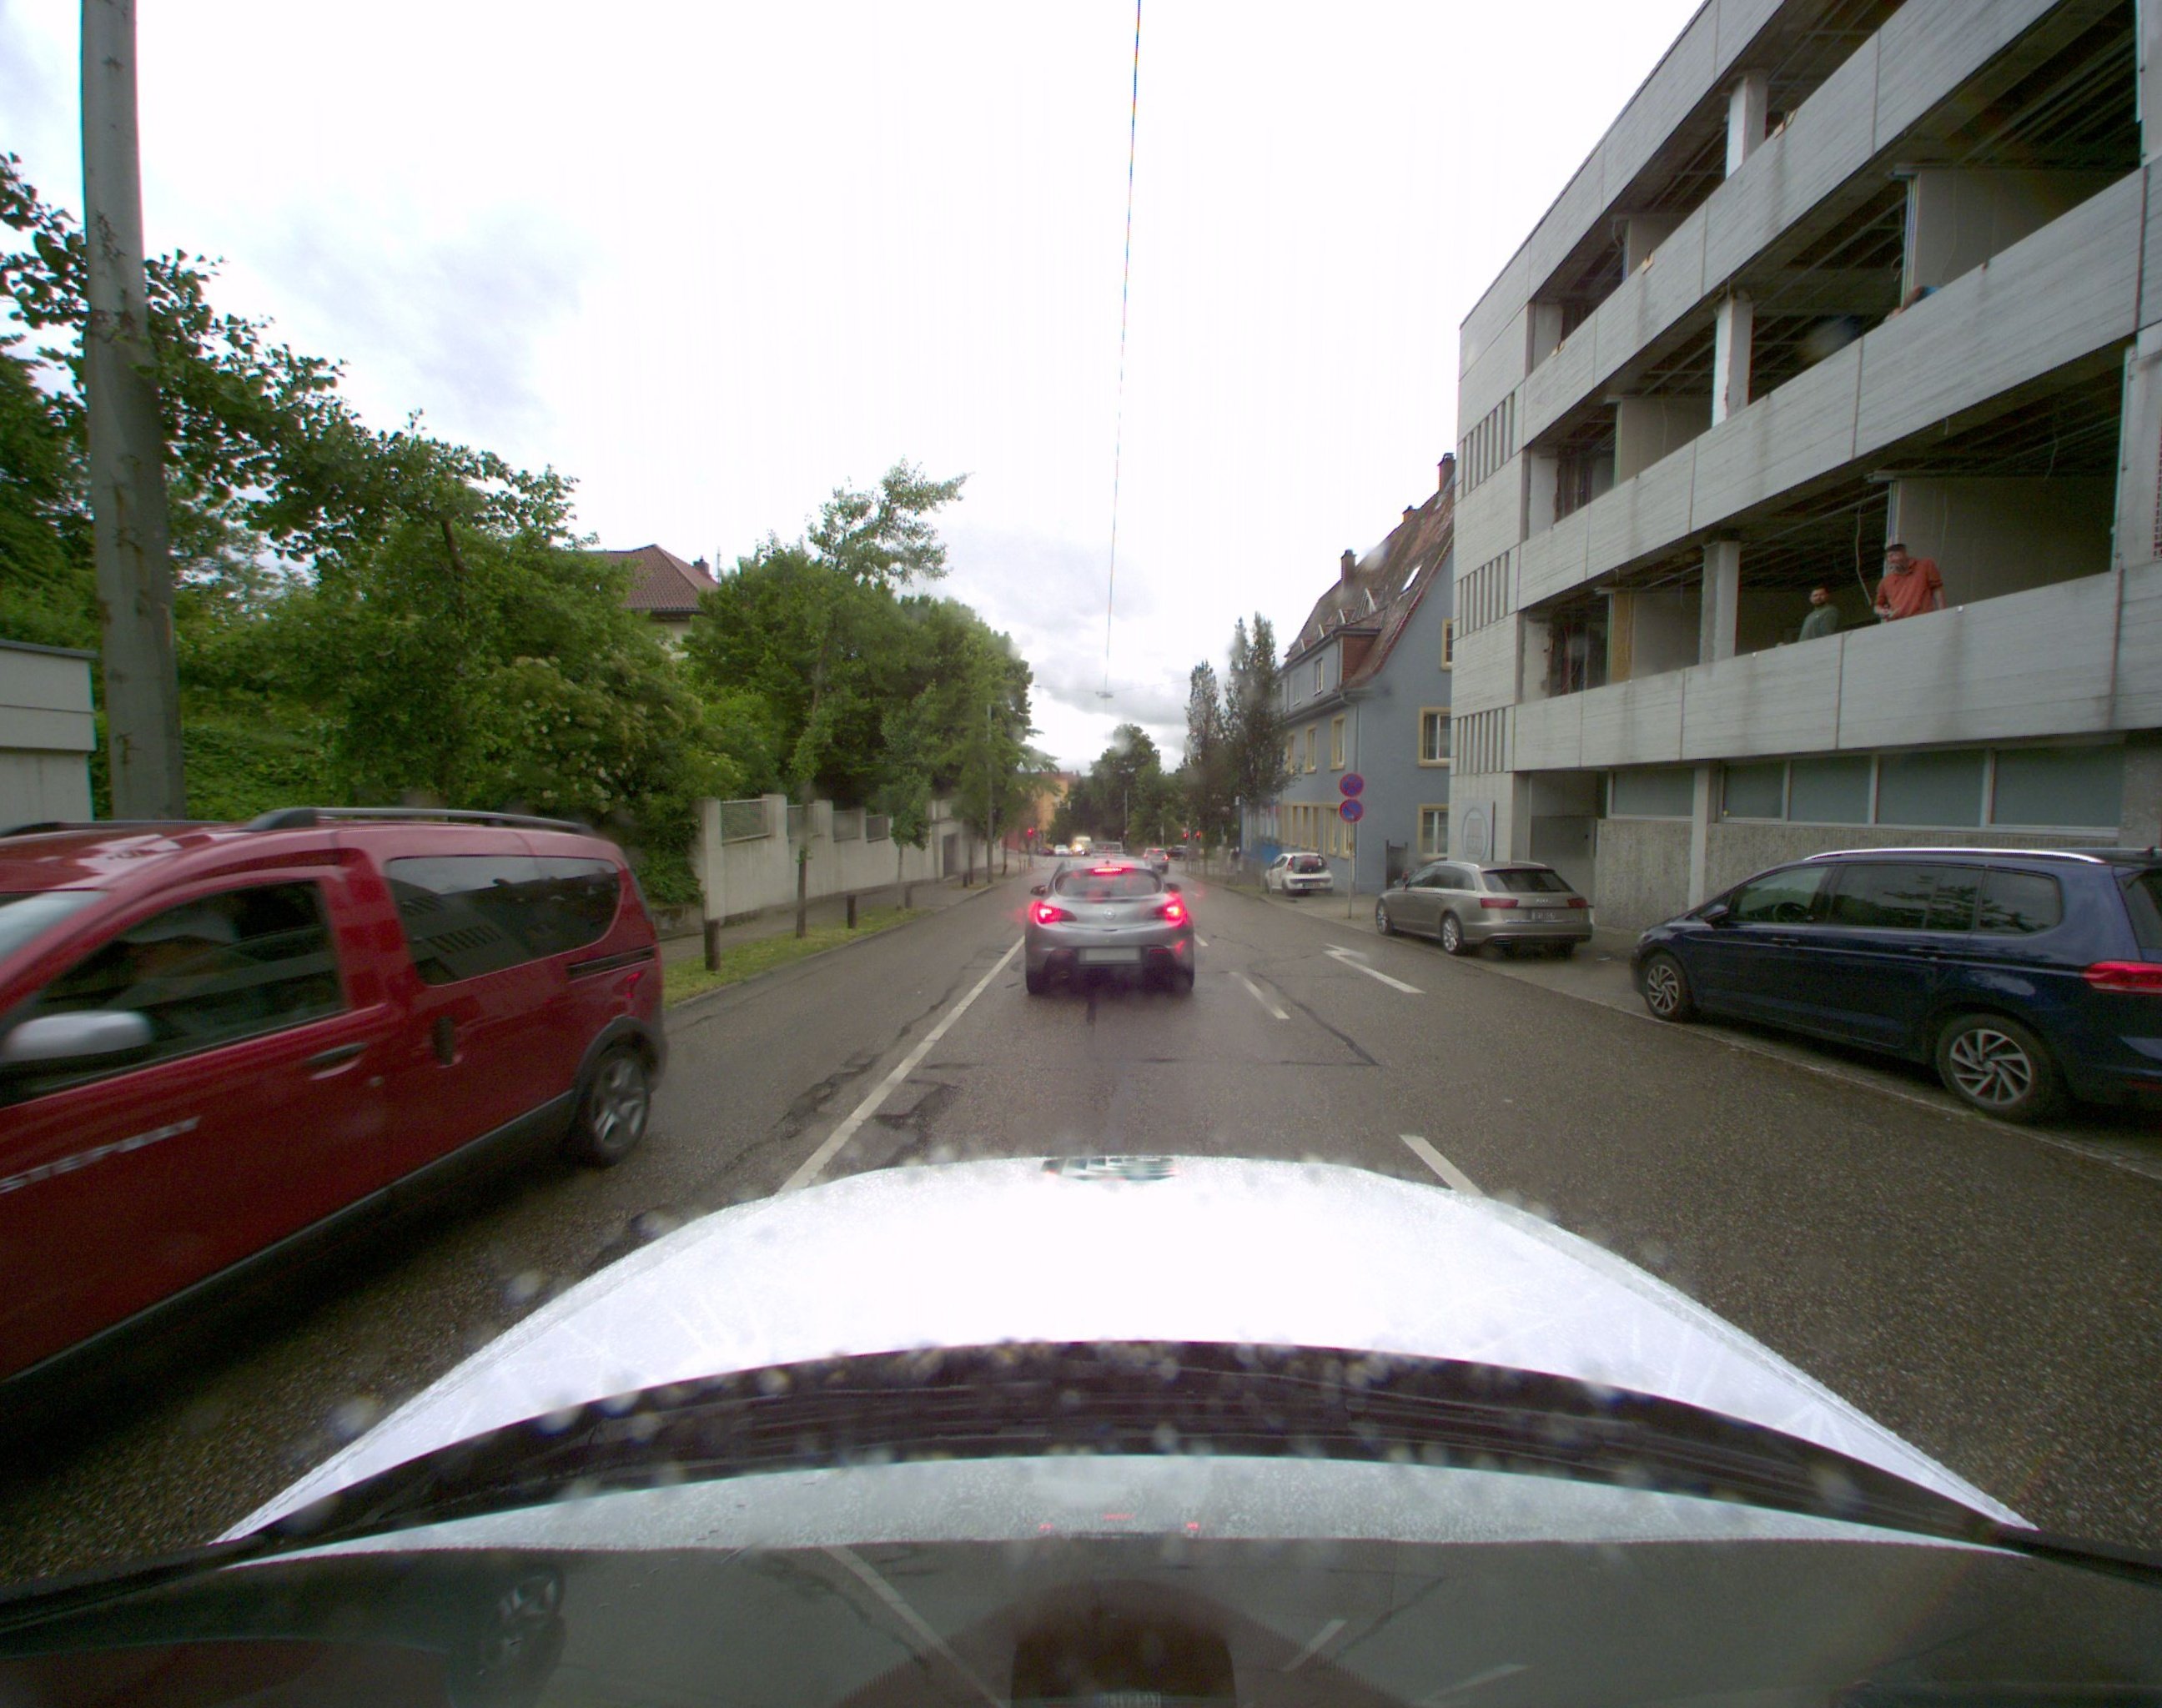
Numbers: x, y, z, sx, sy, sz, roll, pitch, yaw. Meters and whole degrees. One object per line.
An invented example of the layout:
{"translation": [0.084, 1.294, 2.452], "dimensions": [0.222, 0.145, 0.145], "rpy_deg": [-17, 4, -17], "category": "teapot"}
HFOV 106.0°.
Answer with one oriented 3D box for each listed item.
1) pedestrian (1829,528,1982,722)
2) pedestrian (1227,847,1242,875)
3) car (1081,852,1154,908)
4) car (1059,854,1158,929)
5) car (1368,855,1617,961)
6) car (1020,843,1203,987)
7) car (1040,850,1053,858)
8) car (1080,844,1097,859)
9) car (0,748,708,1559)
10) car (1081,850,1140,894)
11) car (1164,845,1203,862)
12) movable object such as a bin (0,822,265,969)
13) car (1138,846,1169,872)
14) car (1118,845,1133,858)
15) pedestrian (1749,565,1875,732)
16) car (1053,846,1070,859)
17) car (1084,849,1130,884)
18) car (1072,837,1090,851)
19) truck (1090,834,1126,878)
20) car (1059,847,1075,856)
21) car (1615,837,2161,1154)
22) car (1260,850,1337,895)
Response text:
{"translation": [9.531, -2.606, 9.455], "dimensions": [0.904, 2.014, 0.861], "rpy_deg": [0, -1, 1], "category": "pedestrian"}
{"translation": [9.455, 0.416, 50.123], "dimensions": [0.780, 1.729, 0.651], "rpy_deg": [1, 0, 2], "category": "pedestrian"}
{"translation": [1.018, 0.699, 24.192], "dimensions": [1.955, 1.448, 4.306], "rpy_deg": [1, 0, 1], "category": "car"}
{"translation": [0.581, 0.754, 18.477], "dimensions": [1.955, 1.448, 4.306], "rpy_deg": [1, 0, 1], "category": "car"}
{"translation": [6.627, 0.768, 13.807], "dimensions": [1.956, 1.448, 4.526], "rpy_deg": [0, 0, 0], "category": "car"}
{"translation": [0.313, 0.606, 10.123], "dimensions": [1.831, 1.434, 3.879], "rpy_deg": [0, 0, 0], "category": "car"}
{"translation": [-6.750, -0.015, 158.542], "dimensions": [1.726, 1.638, 3.859], "rpy_deg": [-1, 0, -16], "category": "car"}
{"translation": [0.854, -0.301, 92.810], "dimensions": [1.864, 1.638, 3.880], "rpy_deg": [-1, 0, 1], "category": "car"}
{"translation": [-3.295, 0.703, 2.861], "dimensions": [1.740, 1.828, 4.460], "rpy_deg": [-2, 0, 2], "category": "car"}
{"translation": [1.022, 0.600, 29.577], "dimensions": [1.955, 1.448, 4.306], "rpy_deg": [1, 0, 1], "category": "car"}
{"translation": [10.257, -0.020, 81.941], "dimensions": [1.736, 1.638, 3.837], "rpy_deg": [-1, 0, -36], "category": "car"}
{"translation": [-10.032, 0.396, 8.680], "dimensions": [1.296, 1.363, 1.225], "rpy_deg": [0, 6, -5], "category": "movable object such as a bin"}
{"translation": [4.903, 0.323, 55.194], "dimensions": [1.717, 1.714, 3.879], "rpy_deg": [-1, 0, 0], "category": "car"}
{"translation": [5.948, -0.380, 108.993], "dimensions": [1.718, 1.638, 3.877], "rpy_deg": [-1, 0, -2], "category": "car"}
{"translation": [9.742, -2.712, 10.891], "dimensions": [0.904, 2.014, 0.861], "rpy_deg": [0, -1, 1], "category": "pedestrian"}
{"translation": [-2.227, -0.176, 92.864], "dimensions": [1.717, 1.460, 3.880], "rpy_deg": [-1, 0, 1], "category": "car"}
{"translation": [1.161, 0.524, 37.240], "dimensions": [1.955, 1.448, 4.306], "rpy_deg": [1, 0, 1], "category": "car"}
{"translation": [-0.061, -1.230, 100.478], "dimensions": [1.721, 1.638, 3.870], "rpy_deg": [-1, 0, -7], "category": "car"}
{"translation": [1.502, 0.088, 47.241], "dimensions": [1.955, 2.429, 4.936], "rpy_deg": [1, 0, 1], "category": "truck"}
{"translation": [-2.396, -0.421, 139.659], "dimensions": [1.726, 1.543, 3.859], "rpy_deg": [-1, 0, -16], "category": "car"}
{"translation": [6.291, 0.695, 6.200], "dimensions": [1.723, 1.599, 4.160], "rpy_deg": [-1, 0, 0], "category": "car"}
{"translation": [7.565, 0.611, 28.676], "dimensions": [1.717, 1.448, 3.880], "rpy_deg": [-1, 0, 1], "category": "car"}
